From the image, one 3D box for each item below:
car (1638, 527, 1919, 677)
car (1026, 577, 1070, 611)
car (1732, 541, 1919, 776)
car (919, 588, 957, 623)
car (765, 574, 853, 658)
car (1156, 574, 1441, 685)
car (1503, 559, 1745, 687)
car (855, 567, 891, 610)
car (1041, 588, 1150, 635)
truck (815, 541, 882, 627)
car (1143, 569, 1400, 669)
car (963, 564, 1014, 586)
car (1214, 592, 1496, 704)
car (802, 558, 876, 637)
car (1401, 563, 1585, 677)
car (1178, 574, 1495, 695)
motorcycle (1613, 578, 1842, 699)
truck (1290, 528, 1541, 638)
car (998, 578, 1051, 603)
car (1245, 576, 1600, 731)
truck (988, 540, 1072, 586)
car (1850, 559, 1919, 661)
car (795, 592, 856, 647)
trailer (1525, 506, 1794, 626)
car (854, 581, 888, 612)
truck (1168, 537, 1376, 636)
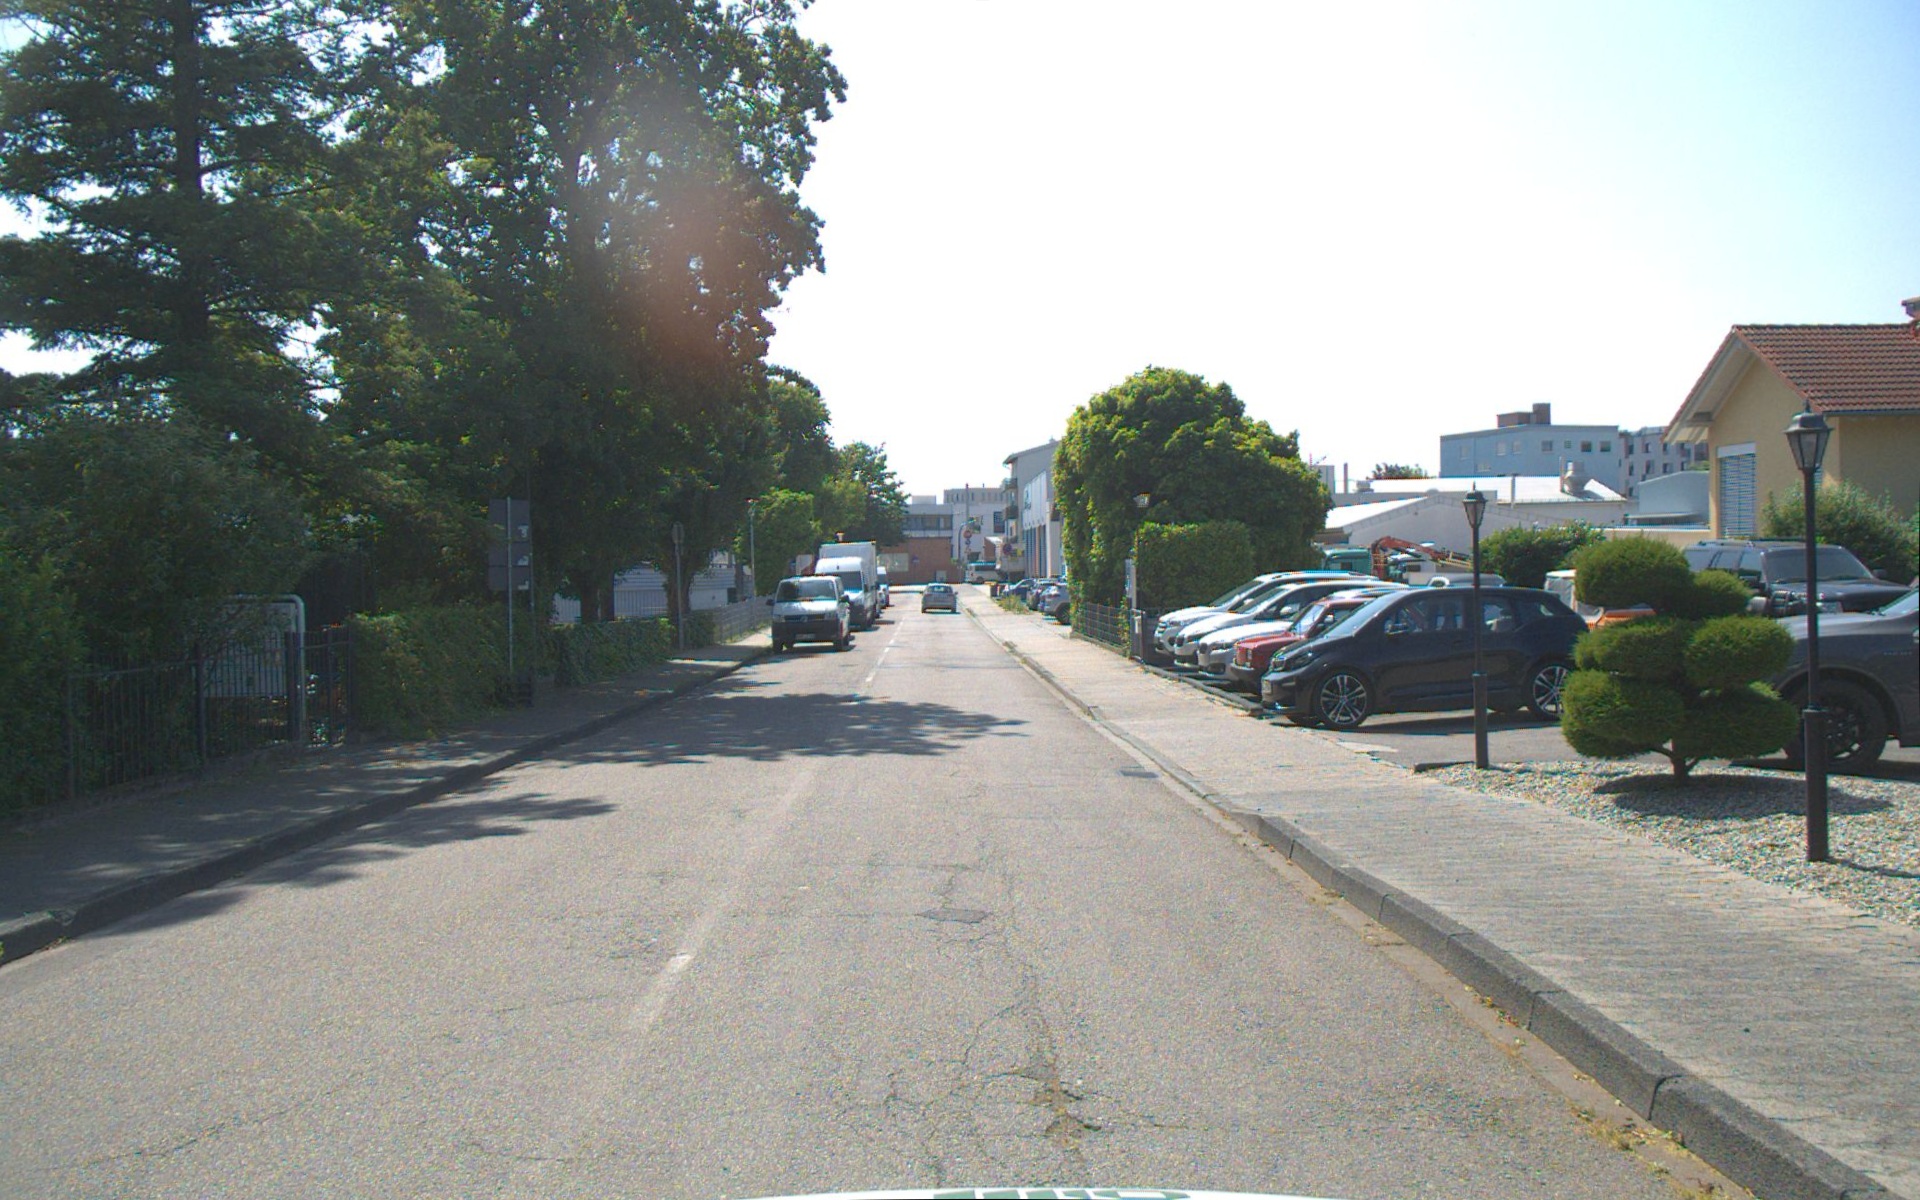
[{"bbox_3d":[12.787,0.011,25.847,1.955,2.049,4.901,-2,0,-6],"label":"car"},{"bbox_3d":[4.469,-0.321,84.933,1.821,1.595,4.950,-2,1,-2],"label":"car"},{"bbox_3d":[8.788,0.400,12.973,4.881,1.793,1.924,-1,0,25],"label":"car"},{"bbox_3d":[-1.148,0.281,85.078,1.852,1.714,3.957,-1,0,-2],"label":"car"},{"bbox_3d":[-4.092,0.397,45.484,1.931,2.048,5.055,-3,0,-1],"label":"car"},{"bbox_3d":[5.688,0.485,28.090,4.319,1.554,1.894,-3,0,-7],"label":"car"},{"bbox_3d":[10.020,0.313,25.322,1.953,1.758,3.998,-2,0,-2],"label":"car"},{"bbox_3d":[-5.282,-0.706,100.345,1.966,2.407,5.227,-4,1,-3],"label":"car"},{"bbox_3d":[5.342,0.451,65.667,4.116,1.711,1.766,2,1,-2],"label":"car"},{"bbox_3d":[-4.808,-0.652,71.350,2.632,3.425,7.124,-2,0,-4],"label":"truck"},{"bbox_3d":[5.689,0.330,30.527,4.315,1.682,1.842,-2,0,-4],"label":"car"},{"bbox_3d":[2.771,-2.465,161.884,4.586,1.991,1.905,-2,1,-20],"label":"car"},{"bbox_3d":[5.416,0.639,22.920,3.478,1.358,1.558,-2,0,-3],"label":"car"},{"bbox_3d":[-4.423,-0.104,61.465,2.124,2.641,6.920,-3,0,0],"label":"car"},{"bbox_3d":[9.395,0.346,29.474,1.953,1.892,3.787,0,0,-2],"label":"car"},{"bbox_3d":[5.720,0.513,25.416,4.319,1.523,1.894,-3,0,-7],"label":"car"},{"bbox_3d":[10.061,0.482,21.708,2.635,1.458,1.008,-2,0,-12],"label":"motorcycle"},{"bbox_3d":[16.106,-0.603,58.931,8.104,3.674,2.954,-1,1,1],"label":"truck"},{"bbox_3d":[3.992,-0.583,102.316,3.187,1.423,1.673,-2,1,-1],"label":"car"},{"bbox_3d":[5.483,0.611,19.907,3.727,1.652,1.758,-2,0,-3],"label":"car"},{"bbox_3d":[6.456,-3.446,153.553,7.221,3.708,2.764,-5,2,-7],"label":"truck"},{"bbox_3d":[16.293,0.128,26.168,1.955,1.624,3.994,-2,0,-6],"label":"car"},{"bbox_3d":[-4.240,0.585,52.656,1.680,1.570,4.399,-3,0,-2],"label":"car"},{"bbox_3d":[24.591,-1.179,58.479,8.159,3.930,3.069,-1,0,4],"label":"trailer"},{"bbox_3d":[-5.140,-0.205,95.177,1.672,1.652,3.969,-3,1,-6],"label":"car"},{"bbox_3d":[11.840,-0.526,63.103,7.365,3.482,2.526,2,0,-1],"label":"truck"}]
